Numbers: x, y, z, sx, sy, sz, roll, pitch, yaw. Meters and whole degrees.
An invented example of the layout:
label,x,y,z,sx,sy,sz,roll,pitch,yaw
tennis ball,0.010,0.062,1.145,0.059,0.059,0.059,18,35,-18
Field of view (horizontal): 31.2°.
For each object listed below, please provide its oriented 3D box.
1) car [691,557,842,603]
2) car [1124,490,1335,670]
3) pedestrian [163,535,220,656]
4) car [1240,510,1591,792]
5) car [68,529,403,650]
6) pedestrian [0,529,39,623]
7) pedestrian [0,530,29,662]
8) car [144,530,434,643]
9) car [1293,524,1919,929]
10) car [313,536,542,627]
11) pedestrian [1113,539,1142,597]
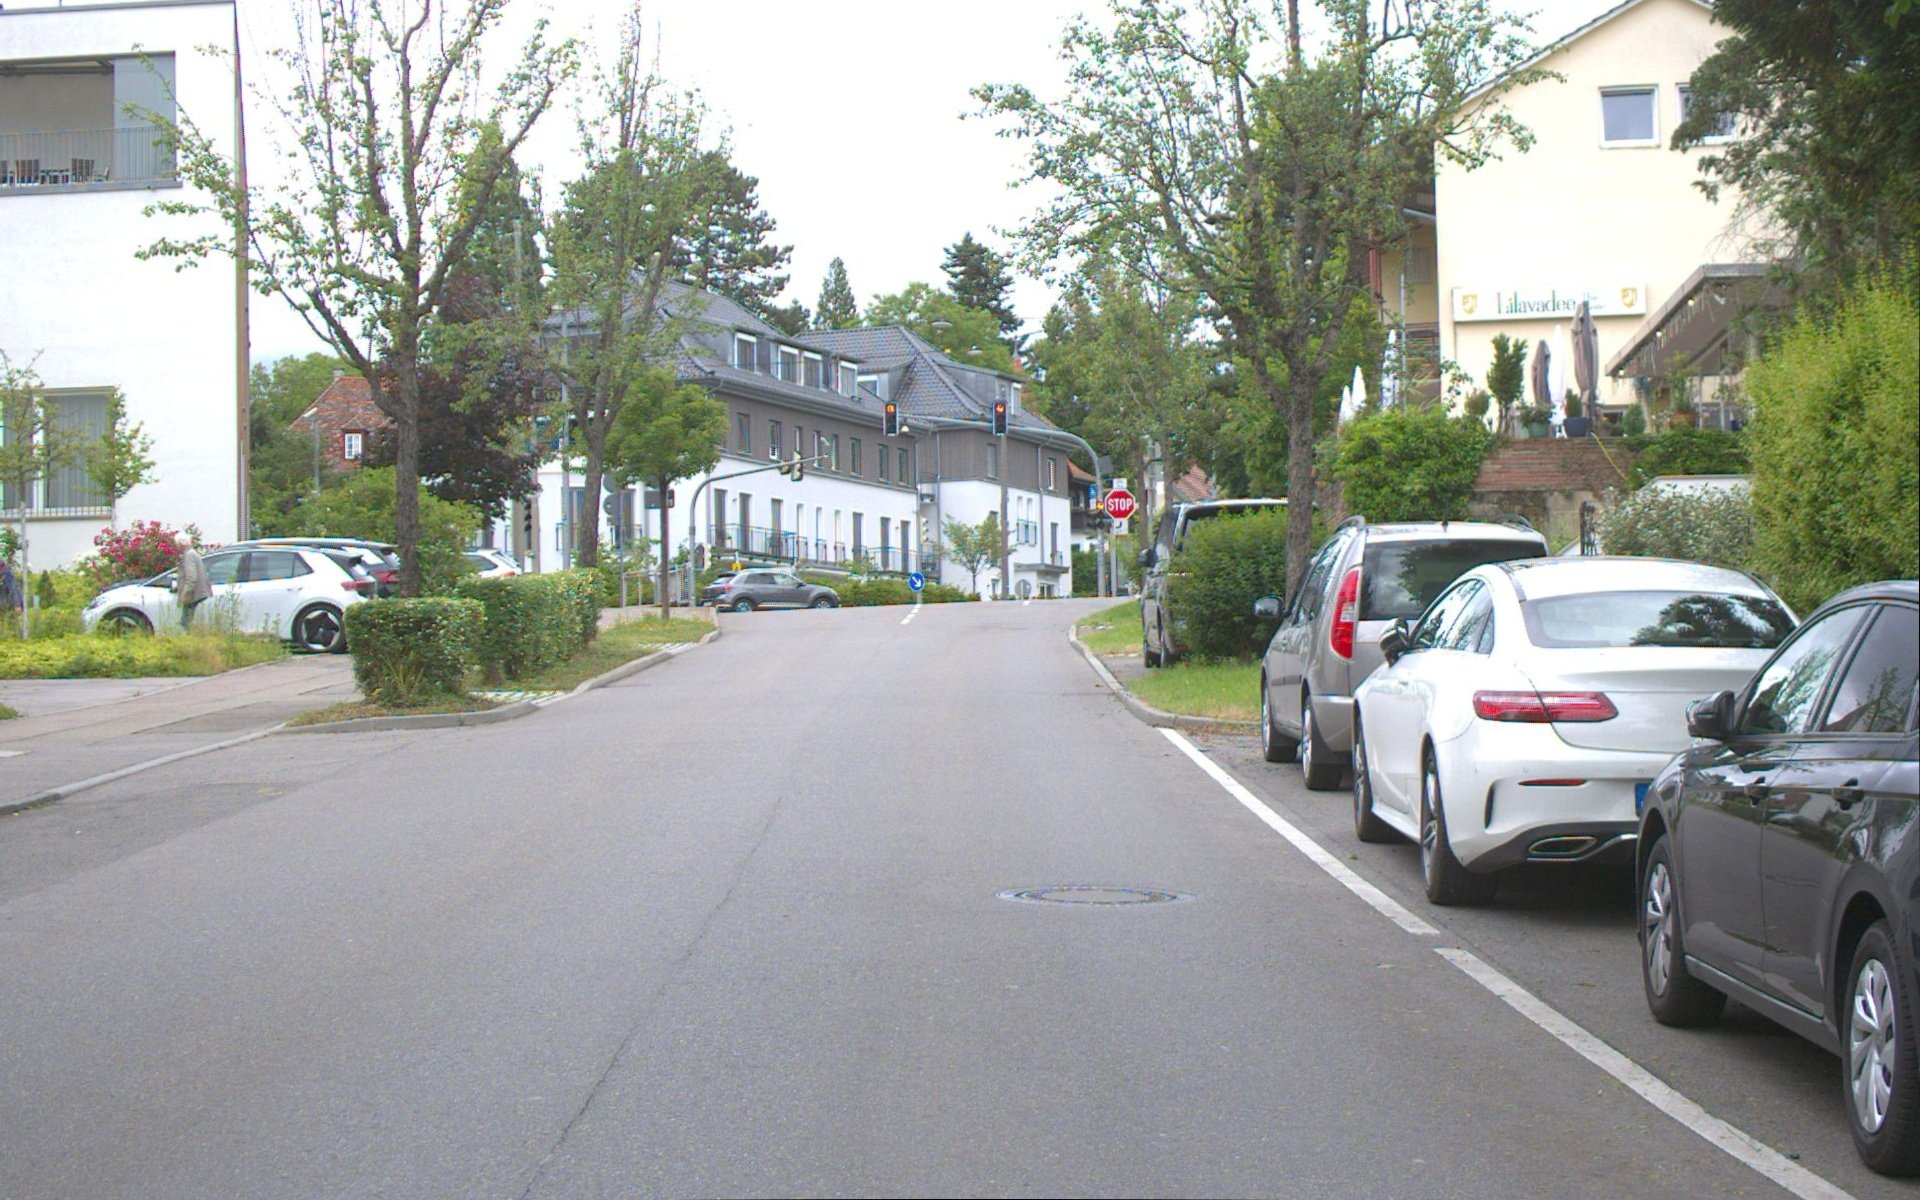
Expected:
label,x,y,z,sx,sy,sz,roll,pitch,yaw
car,-5.709,-0.598,101.296,3.986,1.283,2.001,0,1,-22
car,2.923,-0.254,38.285,1.936,1.831,5.219,-1,1,0
pedestrian,-10.565,-0.067,47.293,0.593,1.635,0.565,-2,1,1
car,2.803,0.264,21.926,1.717,1.627,3.929,0,1,0
car,-10.419,-0.172,49.685,4.386,1.561,2.066,-2,1,-1
pedestrian,-13.088,-0.335,47.256,0.607,1.279,0.899,0,1,0
pedestrian,-12.364,-0.052,44.229,0.589,1.676,0.519,-1,1,2
car,-10.172,-0.220,52.325,3.987,1.648,2.008,-1,1,1
car,2.746,0.433,15.681,1.993,1.486,5.004,-2,1,1
car,-10.579,-0.357,68.527,4.259,1.618,2.014,-2,0,-2
pedestrian,4.903,-0.929,100.647,0.684,1.676,0.700,-1,1,17
